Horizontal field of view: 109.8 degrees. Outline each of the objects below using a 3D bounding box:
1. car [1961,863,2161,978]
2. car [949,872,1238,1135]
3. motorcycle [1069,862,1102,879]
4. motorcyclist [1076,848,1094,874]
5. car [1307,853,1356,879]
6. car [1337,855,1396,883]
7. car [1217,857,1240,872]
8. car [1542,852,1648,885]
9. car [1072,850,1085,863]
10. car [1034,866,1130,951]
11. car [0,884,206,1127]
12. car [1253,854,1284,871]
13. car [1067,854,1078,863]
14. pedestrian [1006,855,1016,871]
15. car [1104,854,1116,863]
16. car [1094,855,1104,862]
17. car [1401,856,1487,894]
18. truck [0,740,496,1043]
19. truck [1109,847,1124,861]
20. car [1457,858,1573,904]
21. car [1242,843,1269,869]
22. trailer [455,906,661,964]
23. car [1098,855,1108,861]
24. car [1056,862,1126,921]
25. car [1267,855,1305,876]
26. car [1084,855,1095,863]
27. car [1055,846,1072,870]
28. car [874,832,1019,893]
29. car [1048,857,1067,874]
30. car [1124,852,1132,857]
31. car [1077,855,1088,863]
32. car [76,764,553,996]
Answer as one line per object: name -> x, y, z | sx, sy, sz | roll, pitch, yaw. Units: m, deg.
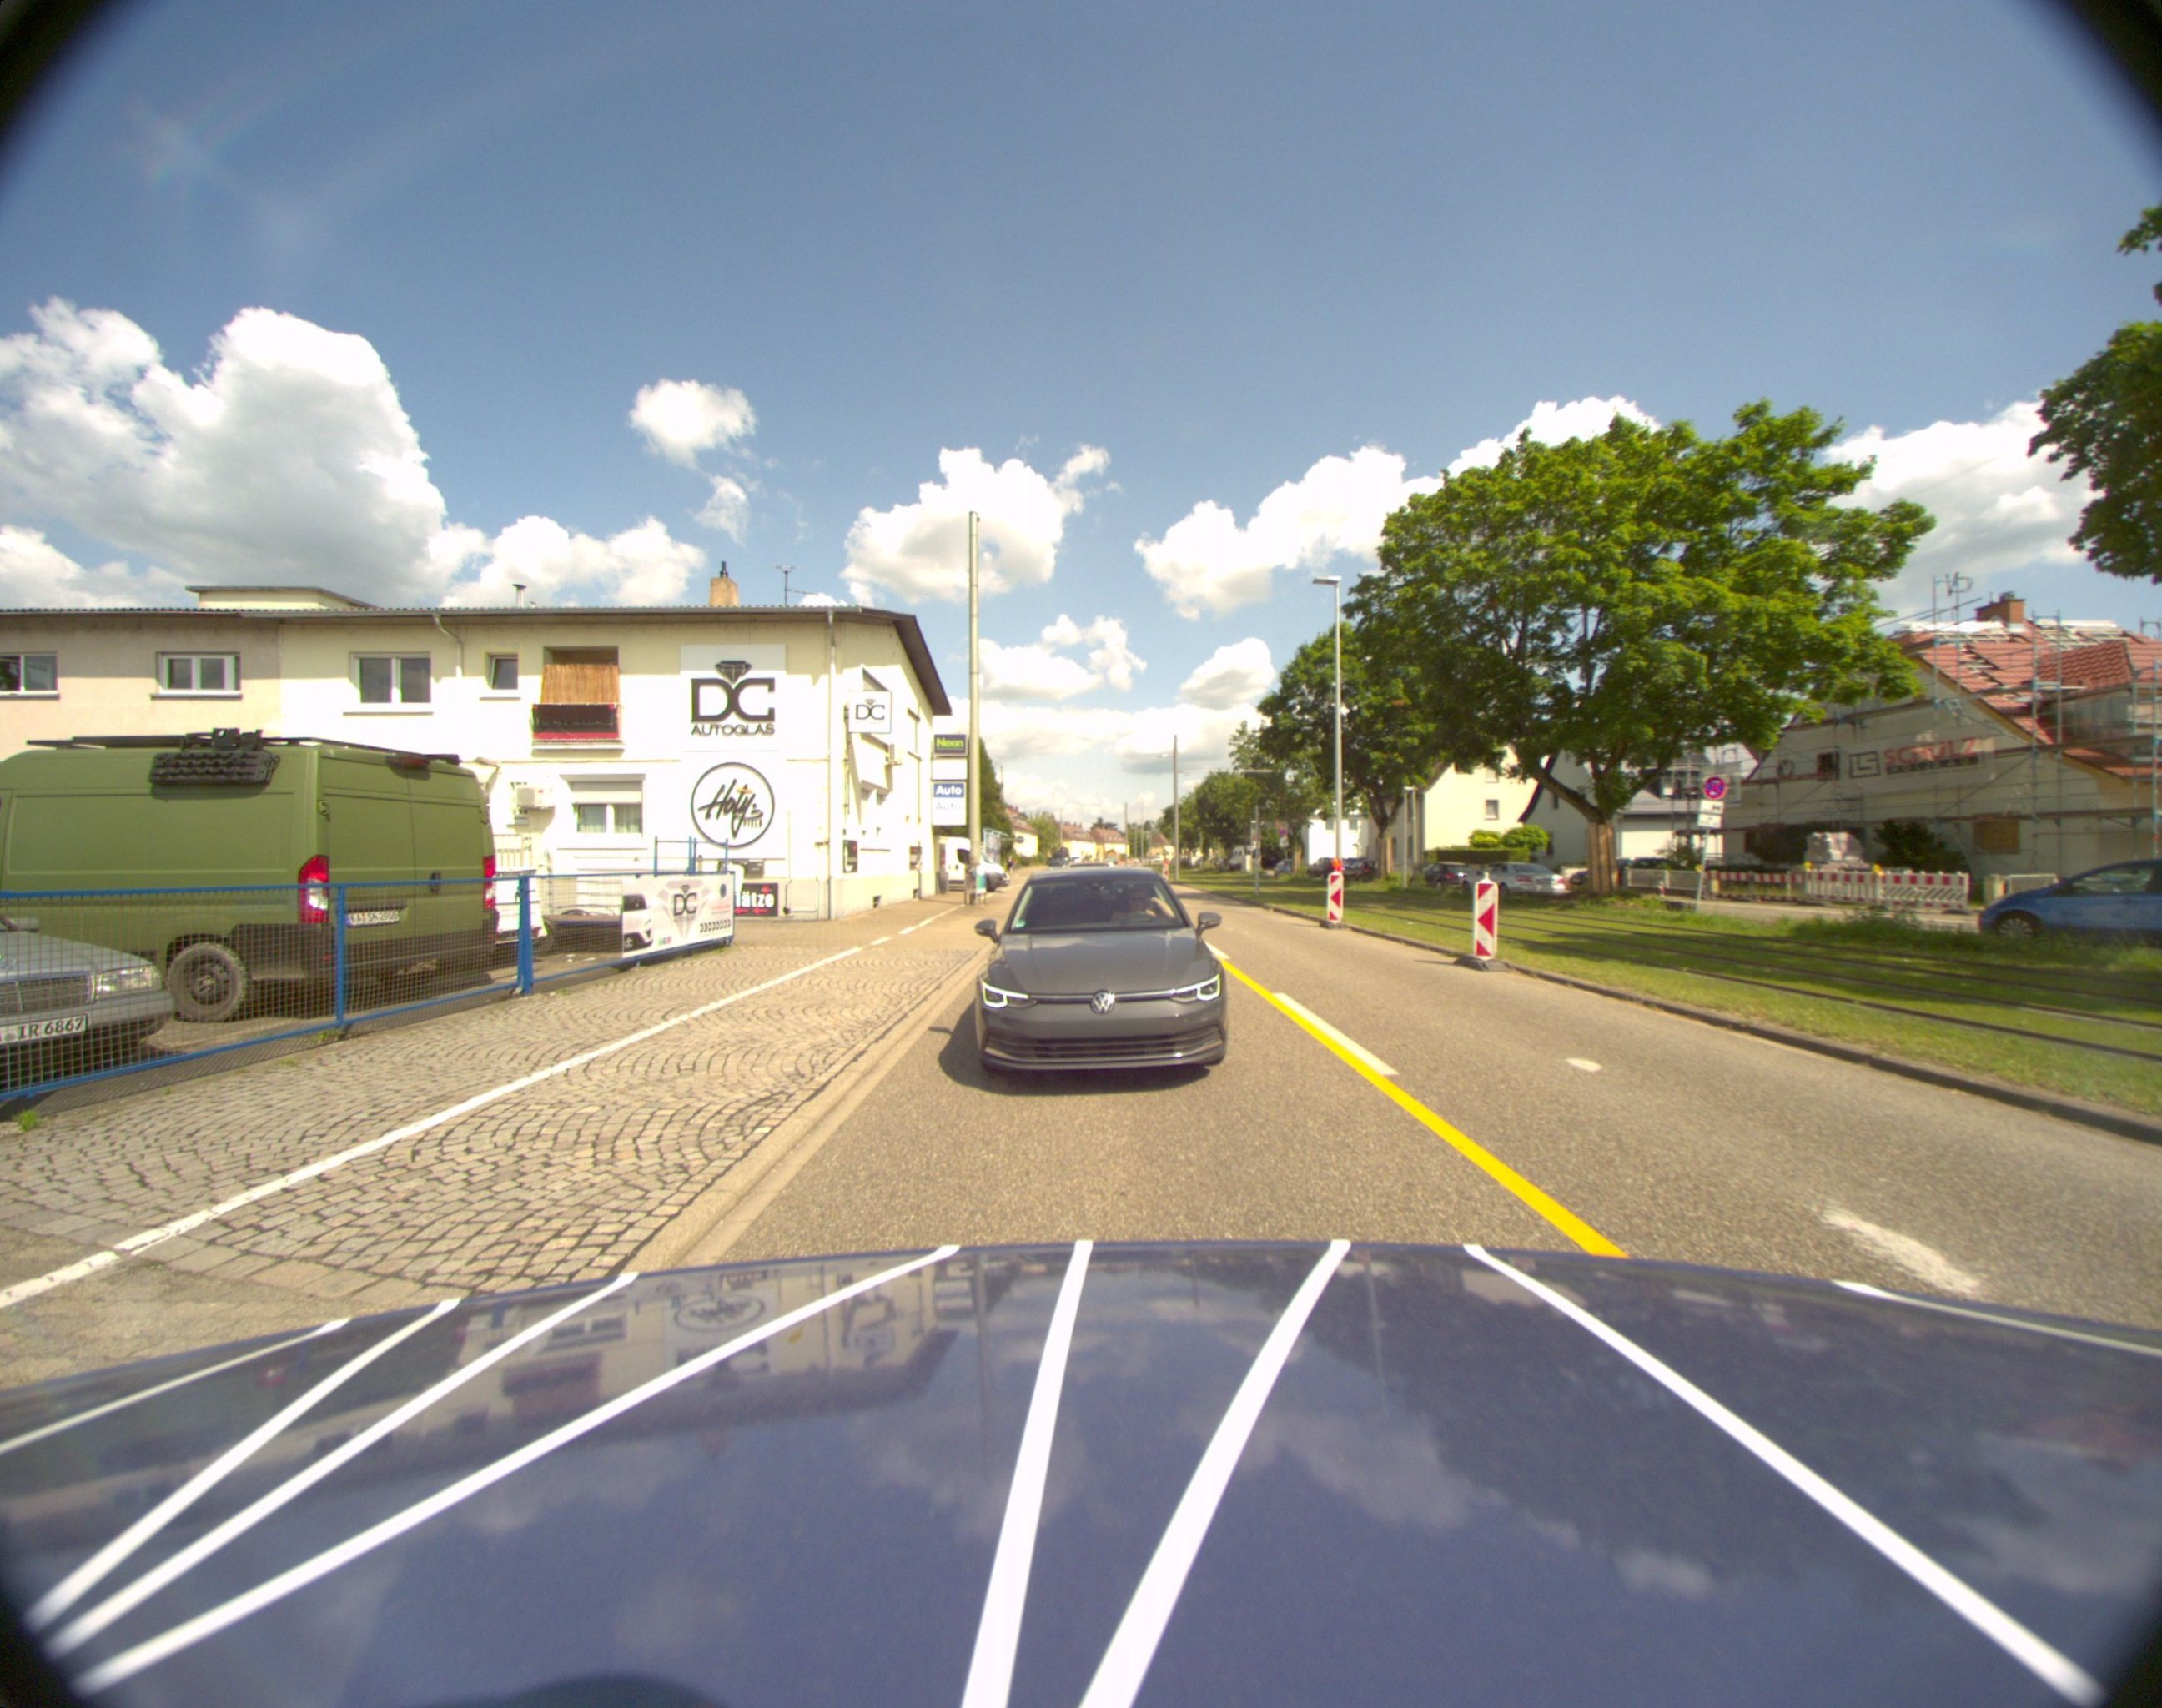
car -> 16.221, 0.961, 11.223 | 1.755, 1.602, 4.050 | 0, 0, 0
car -> 0.102, 0.939, 6.527 | 1.719, 1.470, 4.009 | 0, 0, 1
motorcycle -> 0.288, 1.218, 56.218 | 0.888, 1.164, 2.894 | 0, 0, -36
motorcyclist -> 0.290, 0.516, 56.205 | 0.881, 1.900, 1.110 | -1, 1, -35
car -> 16.683, 0.768, 50.899 | 1.755, 1.602, 4.606 | 0, 0, 0
car -> 16.905, 0.854, 45.259 | 1.755, 1.602, 4.606 | 0, 0, 0
car -> 16.938, 1.157, 87.261 | 1.755, 1.602, 4.606 | 0, 0, 0
car -> 25.515, 0.724, 37.824 | 4.047, 1.602, 1.757 | 0, 0, 1
car -> -0.421, 0.406, 136.315 | 1.719, 2.360, 5.211 | 0, 0, 5
car -> 0.041, 1.008, 15.635 | 1.719, 1.470, 4.009 | 0, 0, 1
car -> -8.434, 0.919, 4.802 | 4.206, 1.388, 1.804 | 0, 0, 8
car -> 17.589, 0.760, 71.487 | 1.755, 1.602, 4.606 | 0, 0, 0
car -> -1.358, 0.744, 122.951 | 1.720, 1.470, 4.009 | 0, 0, 0
pedestrian -> -6.579, 0.851, 71.760 | 0.816, 1.577, 0.918 | 0, 0, 1
car -> 4.567, 0.763, 119.954 | 1.719, 1.405, 4.262 | 0, 0, 1
car -> 4.114, 1.003, 172.728 | 1.718, 1.470, 4.011 | 0, 0, 8
car -> 16.593, 0.920, 35.021 | 1.755, 1.602, 4.606 | 0, 0, 0
truck -> -8.621, 0.330, 7.558 | 3.997, 2.592, 2.069 | 0, 0, 1
truck -> 9.416, 0.031, 201.127 | 2.590, 3.431, 8.585 | 0, 0, 11
car -> 16.392, 0.968, 28.998 | 1.755, 1.602, 4.606 | 0, 0, 0
car -> 17.651, 0.202, 77.055 | 1.755, 2.601, 4.606 | 0, 0, 0
trailer -> -8.059, 1.240, 11.828 | 2.329, 0.762, 1.269 | 0, 0, 2
car -> 5.187, 1.005, 179.078 | 1.718, 1.470, 4.011 | 0, 0, 8
car -> 0.273, 0.991, 21.484 | 1.787, 1.470, 4.009 | 0, 0, 1
car -> 16.499, 0.921, 61.348 | 1.755, 1.602, 4.606 | 0, 0, 0
car -> 1.823, 0.995, 155.294 | 1.718, 1.470, 4.011 | 0, 0, 8
car -> -1.913, 0.416, 82.841 | 1.720, 2.526, 5.794 | 0, 0, 0
car -> -5.928, 0.384, 33.972 | 5.982, 2.362, 2.000 | 3, 0, 3
car -> -2.156, 1.070, 70.979 | 1.720, 1.470, 4.009 | 0, 0, 0
car -> 13.542, 0.245, 218.469 | 1.718, 1.470, 4.013 | 0, 0, 13
car -> 0.348, 0.994, 146.546 | 1.719, 1.470, 4.011 | 0, 0, 6
car -> -9.452, 0.303, 9.644 | 4.209, 2.653, 1.803 | 0, 0, 0
